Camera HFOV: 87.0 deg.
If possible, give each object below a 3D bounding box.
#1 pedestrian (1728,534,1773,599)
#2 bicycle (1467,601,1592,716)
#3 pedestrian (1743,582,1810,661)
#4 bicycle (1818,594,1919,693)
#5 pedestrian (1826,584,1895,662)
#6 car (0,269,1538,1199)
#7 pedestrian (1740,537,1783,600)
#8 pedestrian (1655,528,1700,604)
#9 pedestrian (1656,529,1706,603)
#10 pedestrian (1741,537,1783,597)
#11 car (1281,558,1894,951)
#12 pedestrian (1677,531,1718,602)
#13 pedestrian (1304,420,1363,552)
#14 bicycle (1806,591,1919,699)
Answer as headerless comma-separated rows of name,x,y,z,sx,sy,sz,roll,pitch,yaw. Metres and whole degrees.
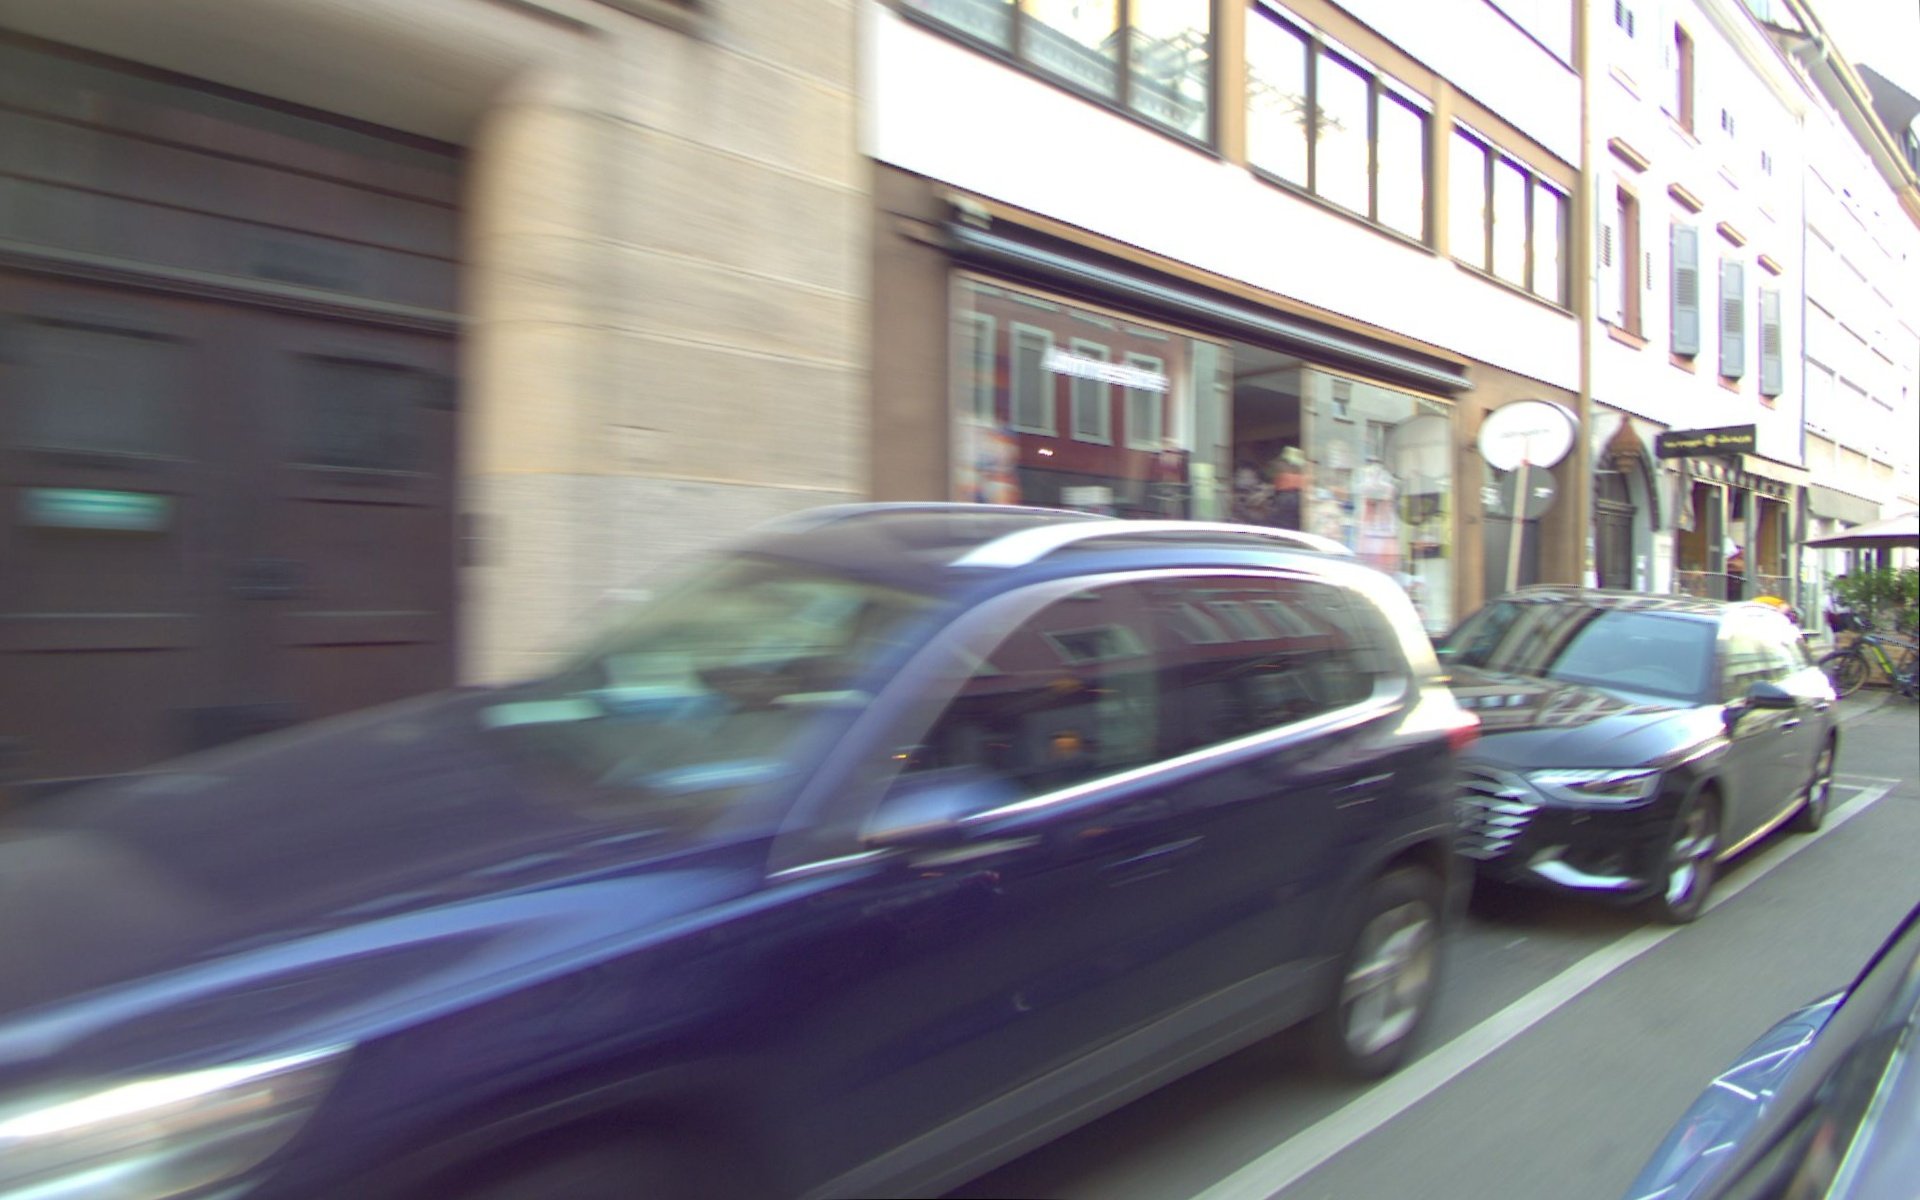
pedestrian,15.660,-0.670,20.048,0.599,1.258,0.566,-1,1,-39
bicycle,6.148,0.590,10.888,1.721,1.103,0.520,0,4,-39
pedestrian,13.506,0.336,16.746,0.634,1.258,0.736,-1,1,-39
bicycle,13.003,0.610,13.775,0.585,1.242,1.875,0,4,-38
pedestrian,14.965,0.368,16.819,0.634,1.258,0.736,-1,0,-37
car,-0.188,0.545,2.828,4.162,1.829,1.674,-1,0,-38
pedestrian,16.272,-0.630,20.559,0.560,1.258,0.467,0,1,23
pedestrian,12.041,-0.570,16.979,0.599,1.258,0.467,-1,1,-39
pedestrian,12.499,-0.583,17.549,0.599,1.258,0.566,-1,1,-39
pedestrian,17.037,-0.701,21.496,0.599,1.258,0.566,-1,1,-39
car,4.099,0.581,6.177,4.901,1.535,1.693,-1,0,-39
pedestrian,13.490,-0.611,18.517,0.599,1.258,0.467,-1,1,-39
pedestrian,4.041,-1.217,10.953,0.417,1.366,0.437,-1,0,-42
bicycle,12.484,0.604,13.351,0.585,1.318,1.875,0,4,-38
